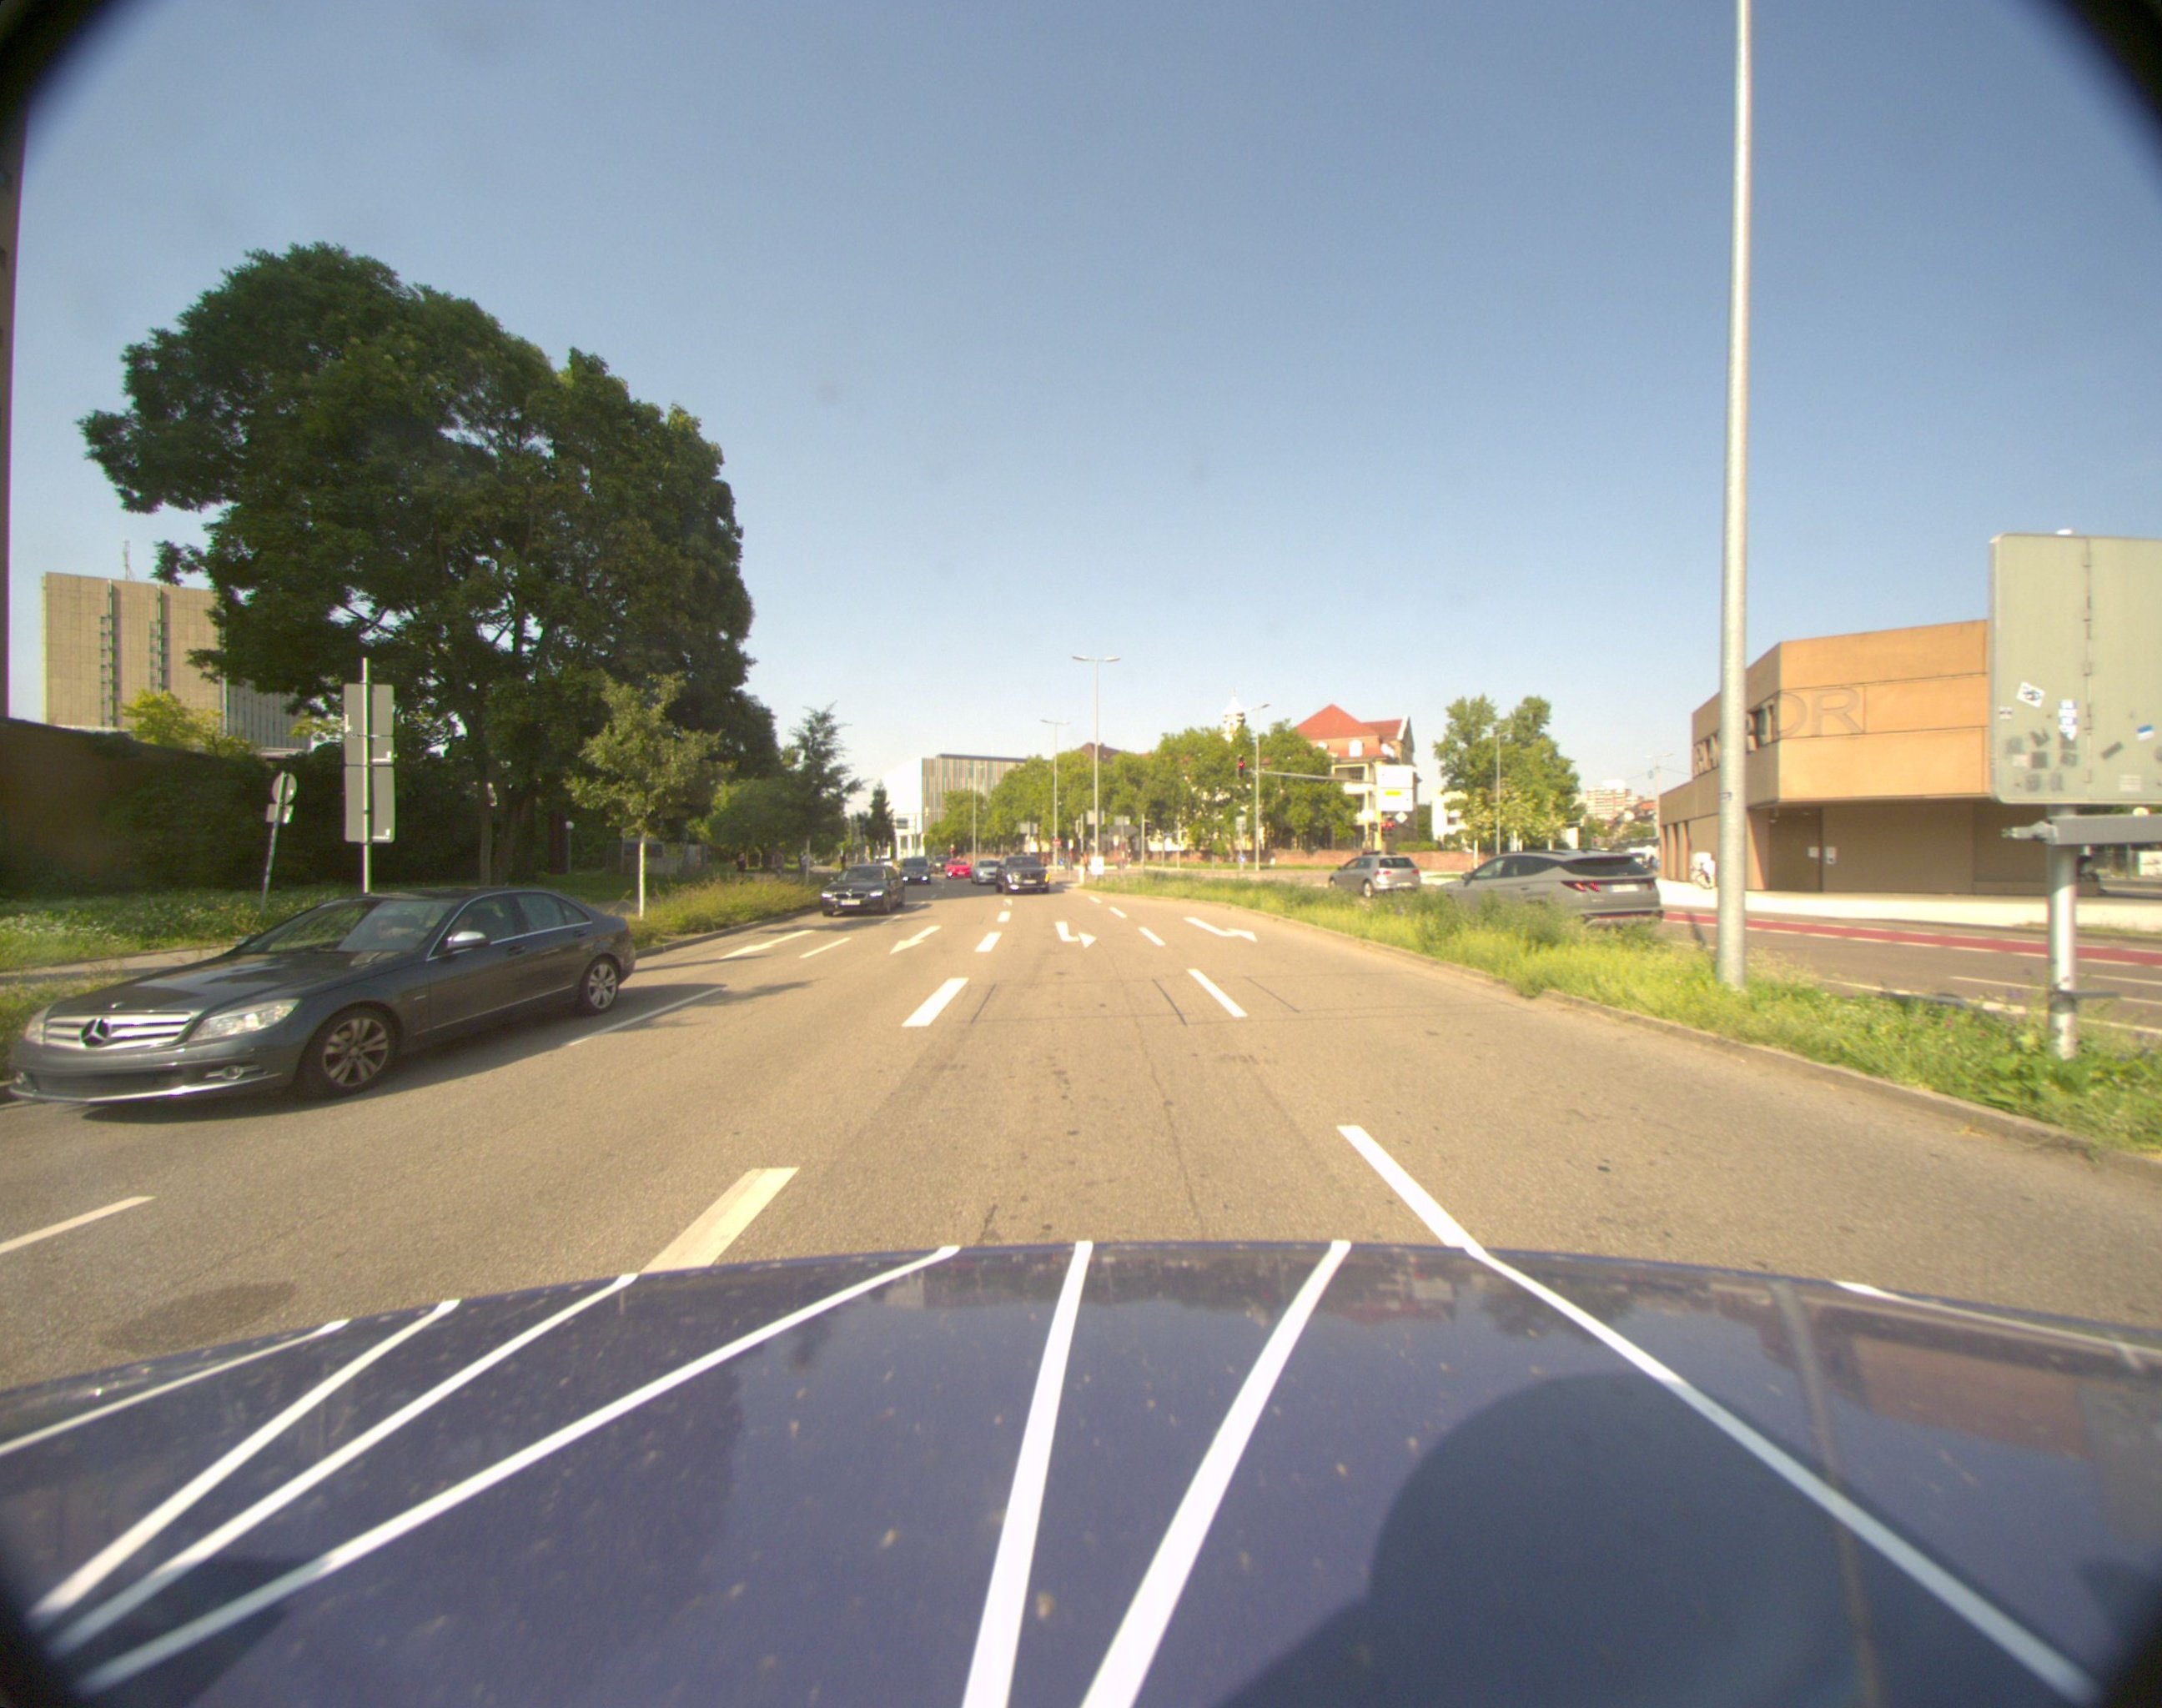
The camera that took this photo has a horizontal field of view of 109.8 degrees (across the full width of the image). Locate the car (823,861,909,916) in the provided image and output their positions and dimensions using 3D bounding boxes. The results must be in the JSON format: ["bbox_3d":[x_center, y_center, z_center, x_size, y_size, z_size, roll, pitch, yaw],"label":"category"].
[{"bbox_3d":[-6.441,0.973,23.258,1.688,1.483,4.670,0,0,-5],"label":"car"}]

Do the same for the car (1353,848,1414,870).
[{"bbox_3d":[23.415,0.345,58.739,4.378,1.624,1.995,0,0,-27],"label":"car"}]

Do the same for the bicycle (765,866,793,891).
[{"bbox_3d":[-14.569,1.165,36.750,0.773,1.111,2.301,-1,0,-9],"label":"bicycle"}]

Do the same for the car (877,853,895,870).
[{"bbox_3d":[-22.869,0.810,89.123,1.689,1.930,4.365,0,0,-19],"label":"car"}]

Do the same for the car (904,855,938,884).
[{"bbox_3d":[-9.629,0.900,45.540,1.785,1.596,4.415,0,1,-14],"label":"car"}]

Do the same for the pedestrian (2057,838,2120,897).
[{"bbox_3d":[29.665,0.383,22.394,0.864,1.695,0.733,0,1,27],"label":"pedestrian"}]

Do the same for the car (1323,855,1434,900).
[{"bbox_3d":[10.261,0.743,26.579,1.819,1.425,4.221,0,0,-8],"label":"car"}]

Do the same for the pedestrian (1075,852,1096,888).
[{"bbox_3d":[0.208,0.740,35.498,0.667,1.644,0.780,0,0,27],"label":"pedestrian"}]

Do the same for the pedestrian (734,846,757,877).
[{"bbox_3d":[-15.777,0.356,35.736,0.726,1.435,0.857,0,1,0],"label":"pedestrian"}]

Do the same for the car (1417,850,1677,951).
[{"bbox_3d":[8.477,0.733,14.405,1.699,1.608,4.457,0,0,-9],"label":"car"}]

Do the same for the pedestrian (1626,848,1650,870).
[{"bbox_3d":[50.074,0.425,68.359,1.344,2.002,1.210,0,0,-21],"label":"pedestrian"}]

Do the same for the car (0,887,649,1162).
[{"bbox_3d":[-5.941,1.112,6.698,1.687,1.434,4.372,-1,0,1],"label":"car"}]

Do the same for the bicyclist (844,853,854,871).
[{"bbox_3d":[-21.221,0.748,69.486,0.774,1.666,0.922,-1,1,-22],"label":"bicyclist"}]

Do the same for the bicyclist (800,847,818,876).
[{"bbox_3d":[-15.123,0.430,42.316,0.773,1.583,0.923,0,0,-9],"label":"bicyclist"}]

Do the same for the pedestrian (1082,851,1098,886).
[{"bbox_3d":[0.453,0.718,37.980,0.669,1.689,0.691,0,0,-9],"label":"pedestrian"}]

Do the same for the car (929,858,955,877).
[{"bbox_3d":[-12.916,1.218,70.456,1.785,1.683,4.526,0,0,-18],"label":"car"}]

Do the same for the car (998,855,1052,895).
[{"bbox_3d":[-2.433,0.830,32.036,1.688,1.483,4.367,-2,1,-11],"label":"car"}]

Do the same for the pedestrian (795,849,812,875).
[{"bbox_3d":[-19.658,0.584,53.790,0.961,1.772,1.002,2,0,-11],"label":"pedestrian"}]

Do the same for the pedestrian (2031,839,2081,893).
[{"bbox_3d":[31.850,0.375,24.833,0.717,1.727,0.858,0,1,29],"label":"pedestrian"}]

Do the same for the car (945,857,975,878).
[{"bbox_3d":[-8.989,0.984,56.287,1.689,1.483,4.366,0,0,-15],"label":"car"}]

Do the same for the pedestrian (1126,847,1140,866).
[{"bbox_3d":[5.584,0.255,81.965,1.080,2.002,1.316,-1,1,-18],"label":"pedestrian"}]

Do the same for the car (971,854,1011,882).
[{"bbox_3d":[-5.199,0.746,43.429,1.784,1.474,4.527,0,0,-13],"label":"car"}]

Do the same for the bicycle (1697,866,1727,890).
[{"bbox_3d":[22.660,0.854,27.306,0.591,0.833,1.550,-3,-2,31],"label":"bicycle"}]

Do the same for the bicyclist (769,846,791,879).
[{"bbox_3d":[-14.590,0.405,36.813,0.773,1.584,0.923,-1,1,-9],"label":"bicyclist"}]

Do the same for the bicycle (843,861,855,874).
[{"bbox_3d":[-21.241,1.233,69.592,0.774,1.111,2.299,-1,0,-22],"label":"bicycle"}]

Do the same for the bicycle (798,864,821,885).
[{"bbox_3d":[-15.118,1.150,42.290,0.773,1.111,2.302,0,0,-9],"label":"bicycle"}]

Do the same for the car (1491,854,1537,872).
[{"bbox_3d":[37.150,0.722,65.207,3.855,1.489,1.622,-1,1,-28],"label":"car"}]
